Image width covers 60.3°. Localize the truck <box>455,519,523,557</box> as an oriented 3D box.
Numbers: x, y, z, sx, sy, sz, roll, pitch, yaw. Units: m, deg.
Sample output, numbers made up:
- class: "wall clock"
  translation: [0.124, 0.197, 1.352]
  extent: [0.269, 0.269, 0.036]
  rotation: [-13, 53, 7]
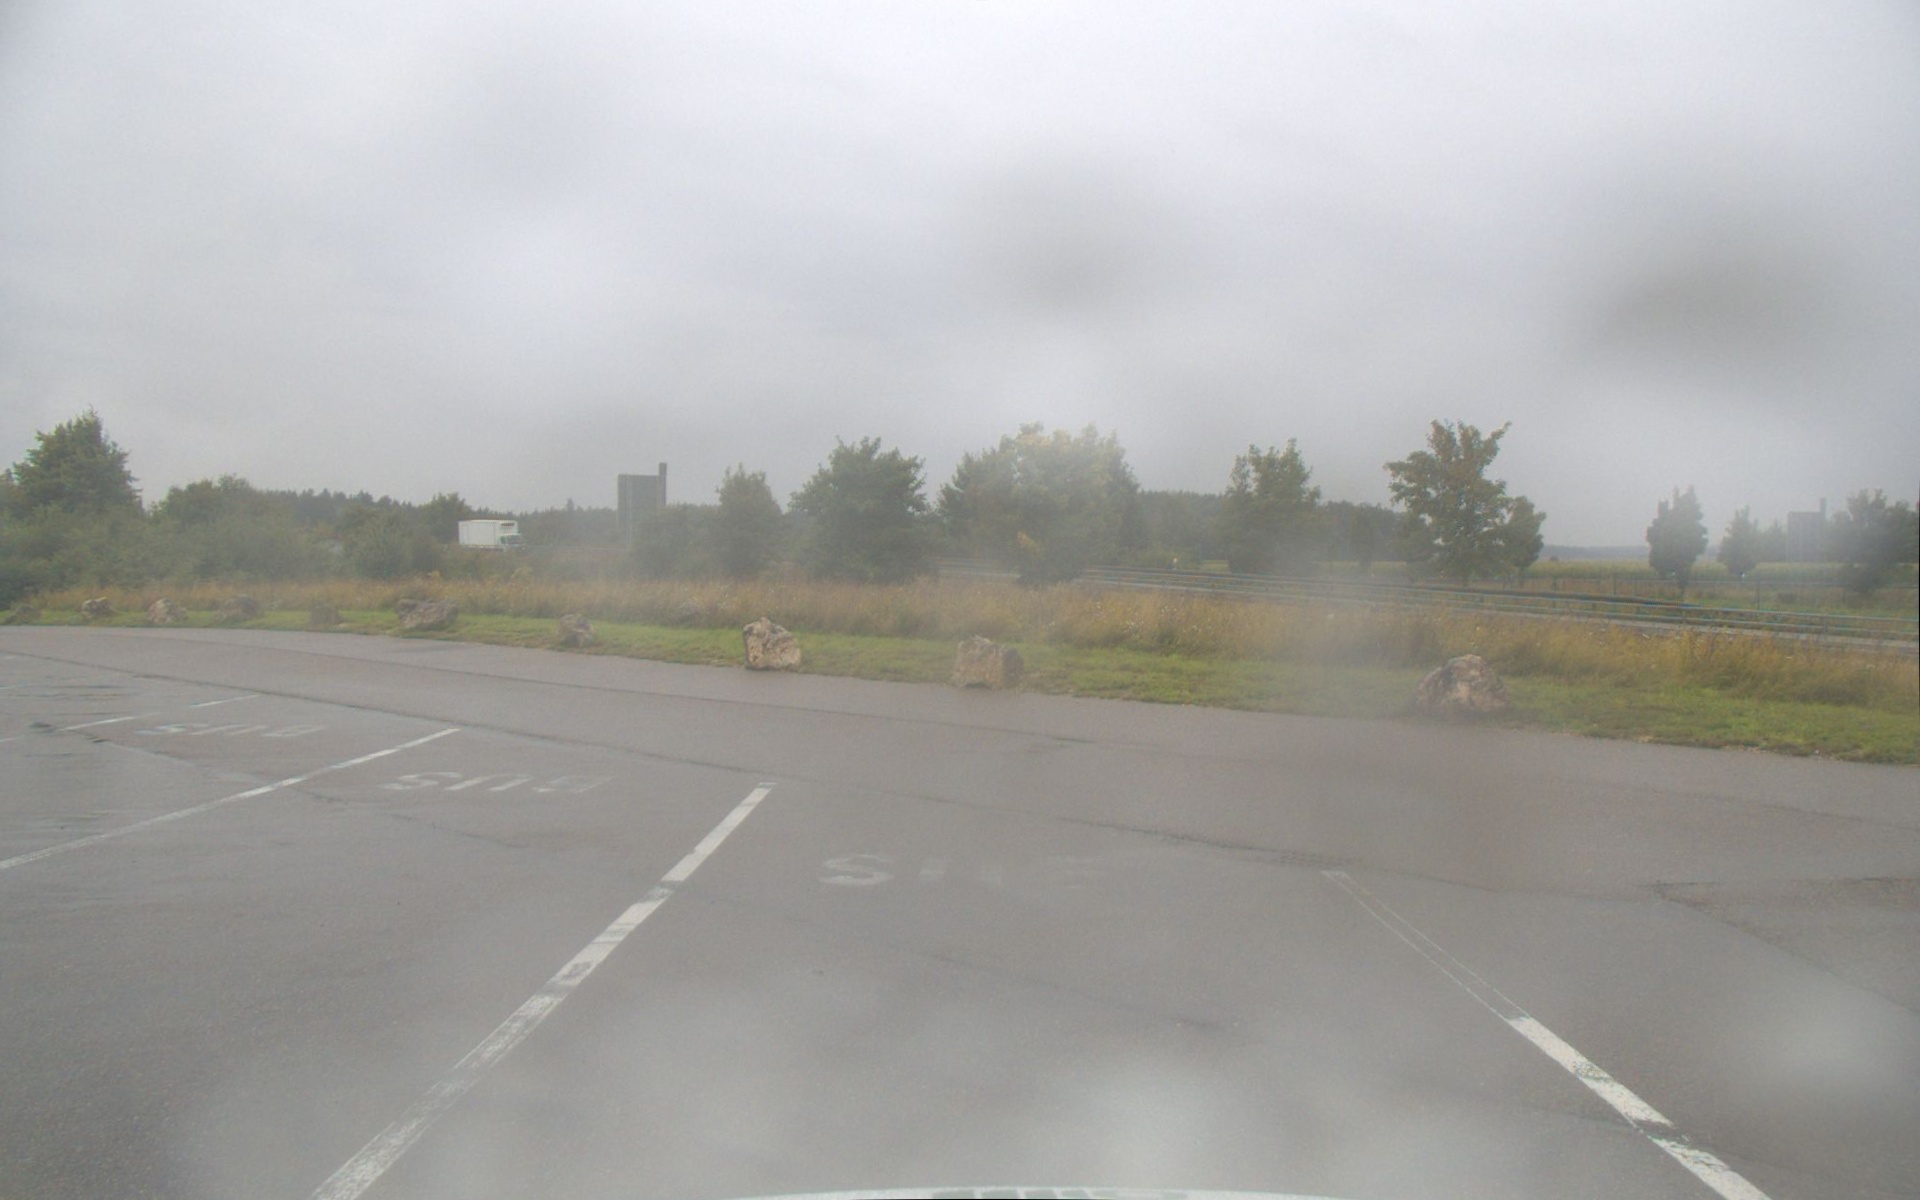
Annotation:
- class: "truck"
  translation: [-44.926, -5.858, 157.511]
  extent: [2.728, 3.450, 7.934]
  rotation: [0, 1, -45]
